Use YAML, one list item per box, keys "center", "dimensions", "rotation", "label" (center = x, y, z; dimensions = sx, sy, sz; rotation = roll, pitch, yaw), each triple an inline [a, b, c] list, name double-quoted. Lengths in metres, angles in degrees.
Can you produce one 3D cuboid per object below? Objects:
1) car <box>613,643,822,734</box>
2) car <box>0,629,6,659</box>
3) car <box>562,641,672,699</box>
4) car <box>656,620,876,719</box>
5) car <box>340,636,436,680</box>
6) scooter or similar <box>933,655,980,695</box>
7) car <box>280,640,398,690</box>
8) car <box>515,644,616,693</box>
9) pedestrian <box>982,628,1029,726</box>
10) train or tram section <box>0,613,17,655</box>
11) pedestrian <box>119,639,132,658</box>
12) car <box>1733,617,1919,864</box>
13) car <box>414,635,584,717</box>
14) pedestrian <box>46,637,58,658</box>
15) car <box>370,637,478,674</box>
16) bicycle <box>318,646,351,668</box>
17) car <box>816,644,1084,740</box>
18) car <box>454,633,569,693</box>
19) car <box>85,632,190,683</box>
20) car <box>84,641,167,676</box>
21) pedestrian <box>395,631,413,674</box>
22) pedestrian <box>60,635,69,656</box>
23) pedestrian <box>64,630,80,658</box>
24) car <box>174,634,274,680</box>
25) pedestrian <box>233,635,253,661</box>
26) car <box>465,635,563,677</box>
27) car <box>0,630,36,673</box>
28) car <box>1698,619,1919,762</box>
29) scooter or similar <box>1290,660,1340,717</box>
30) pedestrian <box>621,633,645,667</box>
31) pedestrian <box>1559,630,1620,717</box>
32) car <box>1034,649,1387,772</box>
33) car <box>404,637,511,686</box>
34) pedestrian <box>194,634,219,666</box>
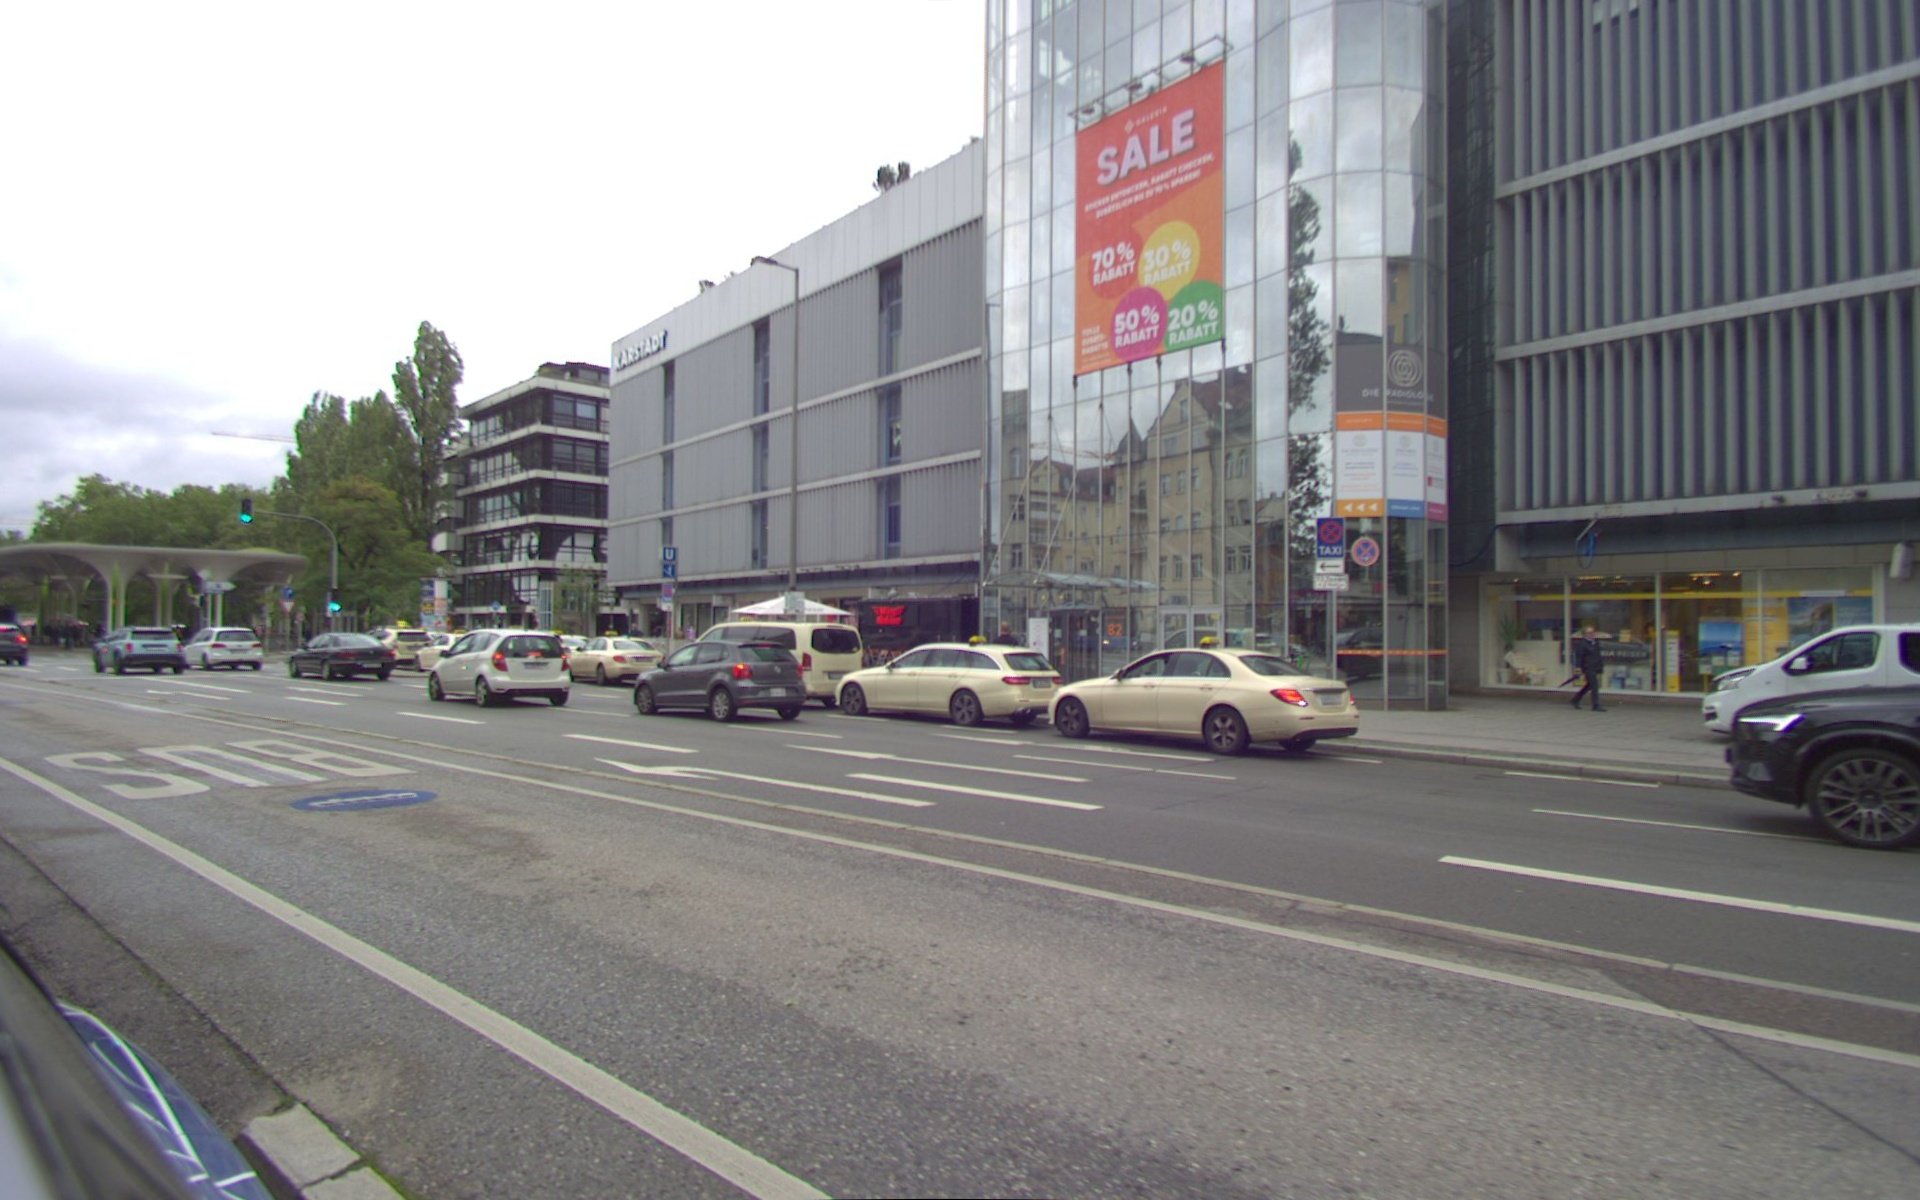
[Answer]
- center: [-4.577, 1.569, 18.844]
  dimensions: [3.998, 1.477, 1.765]
  rotation: [-2, -4, 41]
  label: "car"
- center: [-61.032, 2.726, 62.764]
  dimensions: [4.591, 1.791, 1.975]
  rotation: [-2, -3, 37]
  label: "car"
- center: [-10.553, 2.081, 30.993]
  dimensions: [1.750, 1.628, 4.005]
  rotation: [3, -3, -42]
  label: "car"
- center: [-4.524, 1.514, 23.080]
  dimensions: [5.317, 2.029, 1.973]
  rotation: [-1, -4, 40]
  label: "car"
- center: [-22.390, 2.215, 39.558]
  dimensions: [4.468, 1.624, 1.572]
  rotation: [-1, -3, 37]
  label: "car"
- center: [-0.107, 2.214, 30.037]
  dimensions: [1.370, 1.148, 0.365]
  rotation: [-1, -3, 18]
  label: "scooter or similar"
- center: [-19.126, 1.944, 31.089]
  dimensions: [4.684, 1.420, 1.711]
  rotation: [-2, -3, 41]
  label: "car"
- center: [-13.576, 2.296, 34.720]
  dimensions: [4.002, 1.548, 1.732]
  rotation: [-2, -3, 45]
  label: "car"
- center: [0.910, 1.516, 20.134]
  dimensions: [0.780, 1.881, 0.843]
  rotation: [1, -3, 12]
  label: "pedestrian"
- center: [-72.573, 2.480, 74.818]
  dimensions: [7.393, 3.024, 2.807]
  rotation: [-2, -3, 37]
  label: "train or tram section"
- center: [-59.725, 3.442, 72.438]
  dimensions: [0.591, 1.348, 0.543]
  rotation: [-2, -3, 36]
  label: "pedestrian"
- center: [8.501, 0.992, 6.951]
  dimensions: [4.978, 1.729, 1.998]
  rotation: [-2, -3, 40]
  label: "car"
- center: [-9.983, 1.563, 21.799]
  dimensions: [4.000, 1.602, 1.932]
  rotation: [-2, -3, 43]
  label: "car"
- center: [-63.361, 3.310, 70.622]
  dimensions: [0.419, 1.514, 0.491]
  rotation: [2, -3, -28]
  label: "pedestrian"
- center: [-23.135, 2.369, 43.688]
  dimensions: [4.270, 1.522, 1.845]
  rotation: [-1, -3, 23]
  label: "car"
- center: [-30.856, 2.806, 49.936]
  dimensions: [0.419, 1.024, 1.283]
  rotation: [-2, -3, 35]
  label: "bicycle"
- center: [-0.305, 1.646, 19.311]
  dimensions: [5.082, 1.564, 1.957]
  rotation: [-2, -3, 40]
  label: "car"
- center: [-13.796, 1.897, 30.983]
  dimensions: [1.862, 1.711, 4.387]
  rotation: [4, -5, -42]
  label: "car"
- center: [-27.284, 1.899, 33.555]
  dimensions: [3.995, 1.557, 1.799]
  rotation: [-2, -5, 38]
  label: "car"
- center: [-39.288, 2.717, 47.595]
  dimensions: [4.940, 1.558, 1.941]
  rotation: [-2, -3, 38]
  label: "car"
- center: [-23.076, 2.164, 41.980]
  dimensions: [0.428, 1.742, 0.519]
  rotation: [-1, -1, 36]
  label: "pedestrian"
- center: [-62.781, 3.199, 70.973]
  dimensions: [0.315, 1.514, 0.331]
  rotation: [-1, -3, 27]
  label: "pedestrian"
- center: [-59.951, 2.951, 68.327]
  dimensions: [0.656, 1.865, 0.790]
  rotation: [2, -3, -34]
  label: "pedestrian"
- center: [-27.543, 2.106, 37.812]
  dimensions: [4.285, 1.612, 1.974]
  rotation: [-2, -3, 39]
  label: "car"
- center: [-49.072, 3.282, 69.286]
  dimensions: [0.979, 1.791, 0.851]
  rotation: [-2, -3, 37]
  label: "pedestrian"
- center: [-17.547, 2.165, 39.785]
  dimensions: [3.995, 1.579, 1.888]
  rotation: [-2, -3, 39]
  label: "car"
- center: [-38.176, 1.988, 39.776]
  dimensions: [4.407, 1.633, 1.974]
  rotation: [-1, -4, 38]
  label: "car"
- center: [14.327, 1.322, 15.063]
  dimensions: [1.970, 2.029, 5.116]
  rotation: [3, -4, -44]
  label: "car"
- center: [7.651, 1.896, 21.815]
  dimensions: [0.991, 1.182, 0.253]
  rotation: [-1, -3, 24]
  label: "scooter or similar"
- center: [-15.074, 2.302, 46.613]
  dimensions: [0.722, 1.557, 0.900]
  rotation: [2, -3, -40]
  label: "pedestrian"
- center: [13.660, 1.574, 21.974]
  dimensions: [0.852, 1.849, 0.906]
  rotation: [3, -3, -42]
  label: "pedestrian"
- center: [3.483, 1.507, 14.995]
  dimensions: [1.833, 1.481, 4.991]
  rotation: [5, -5, -38]
  label: "car"
- center: [-17.377, 2.065, 34.880]
  dimensions: [1.923, 1.552, 4.851]
  rotation: [3, -3, -43]
  label: "car"
- center: [-37.553, 2.507, 50.438]
  dimensions: [0.753, 1.563, 0.637]
  rotation: [0, -1, 11]
  label: "pedestrian"
